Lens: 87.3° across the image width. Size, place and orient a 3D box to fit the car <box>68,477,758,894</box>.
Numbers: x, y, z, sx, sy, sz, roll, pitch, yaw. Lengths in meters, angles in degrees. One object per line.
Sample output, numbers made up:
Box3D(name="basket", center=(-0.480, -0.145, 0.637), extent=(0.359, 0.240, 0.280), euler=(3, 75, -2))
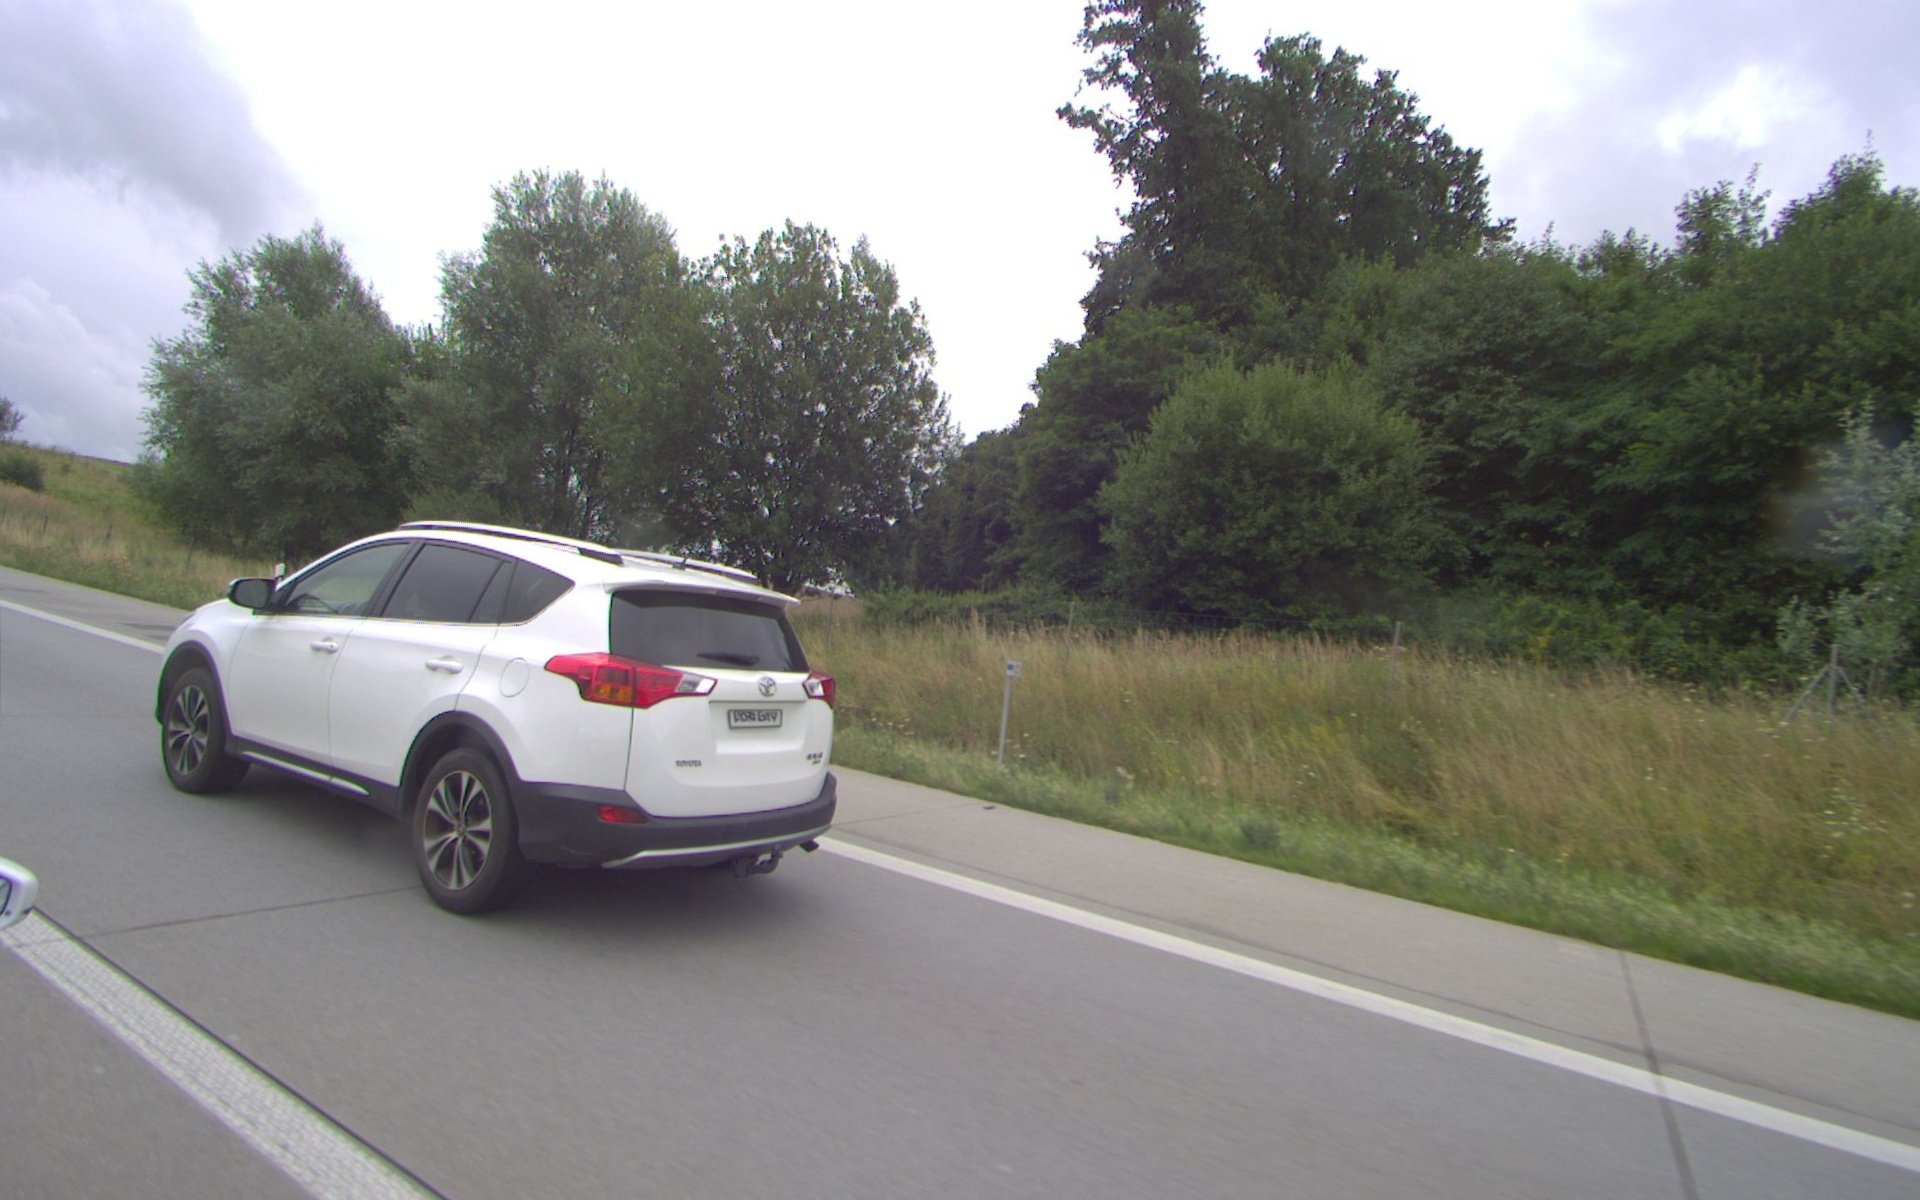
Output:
Box3D(name="car", center=(-3.428, 0.342, 6.175), extent=(3.918, 1.674, 1.830), euler=(7, -2, 31))
